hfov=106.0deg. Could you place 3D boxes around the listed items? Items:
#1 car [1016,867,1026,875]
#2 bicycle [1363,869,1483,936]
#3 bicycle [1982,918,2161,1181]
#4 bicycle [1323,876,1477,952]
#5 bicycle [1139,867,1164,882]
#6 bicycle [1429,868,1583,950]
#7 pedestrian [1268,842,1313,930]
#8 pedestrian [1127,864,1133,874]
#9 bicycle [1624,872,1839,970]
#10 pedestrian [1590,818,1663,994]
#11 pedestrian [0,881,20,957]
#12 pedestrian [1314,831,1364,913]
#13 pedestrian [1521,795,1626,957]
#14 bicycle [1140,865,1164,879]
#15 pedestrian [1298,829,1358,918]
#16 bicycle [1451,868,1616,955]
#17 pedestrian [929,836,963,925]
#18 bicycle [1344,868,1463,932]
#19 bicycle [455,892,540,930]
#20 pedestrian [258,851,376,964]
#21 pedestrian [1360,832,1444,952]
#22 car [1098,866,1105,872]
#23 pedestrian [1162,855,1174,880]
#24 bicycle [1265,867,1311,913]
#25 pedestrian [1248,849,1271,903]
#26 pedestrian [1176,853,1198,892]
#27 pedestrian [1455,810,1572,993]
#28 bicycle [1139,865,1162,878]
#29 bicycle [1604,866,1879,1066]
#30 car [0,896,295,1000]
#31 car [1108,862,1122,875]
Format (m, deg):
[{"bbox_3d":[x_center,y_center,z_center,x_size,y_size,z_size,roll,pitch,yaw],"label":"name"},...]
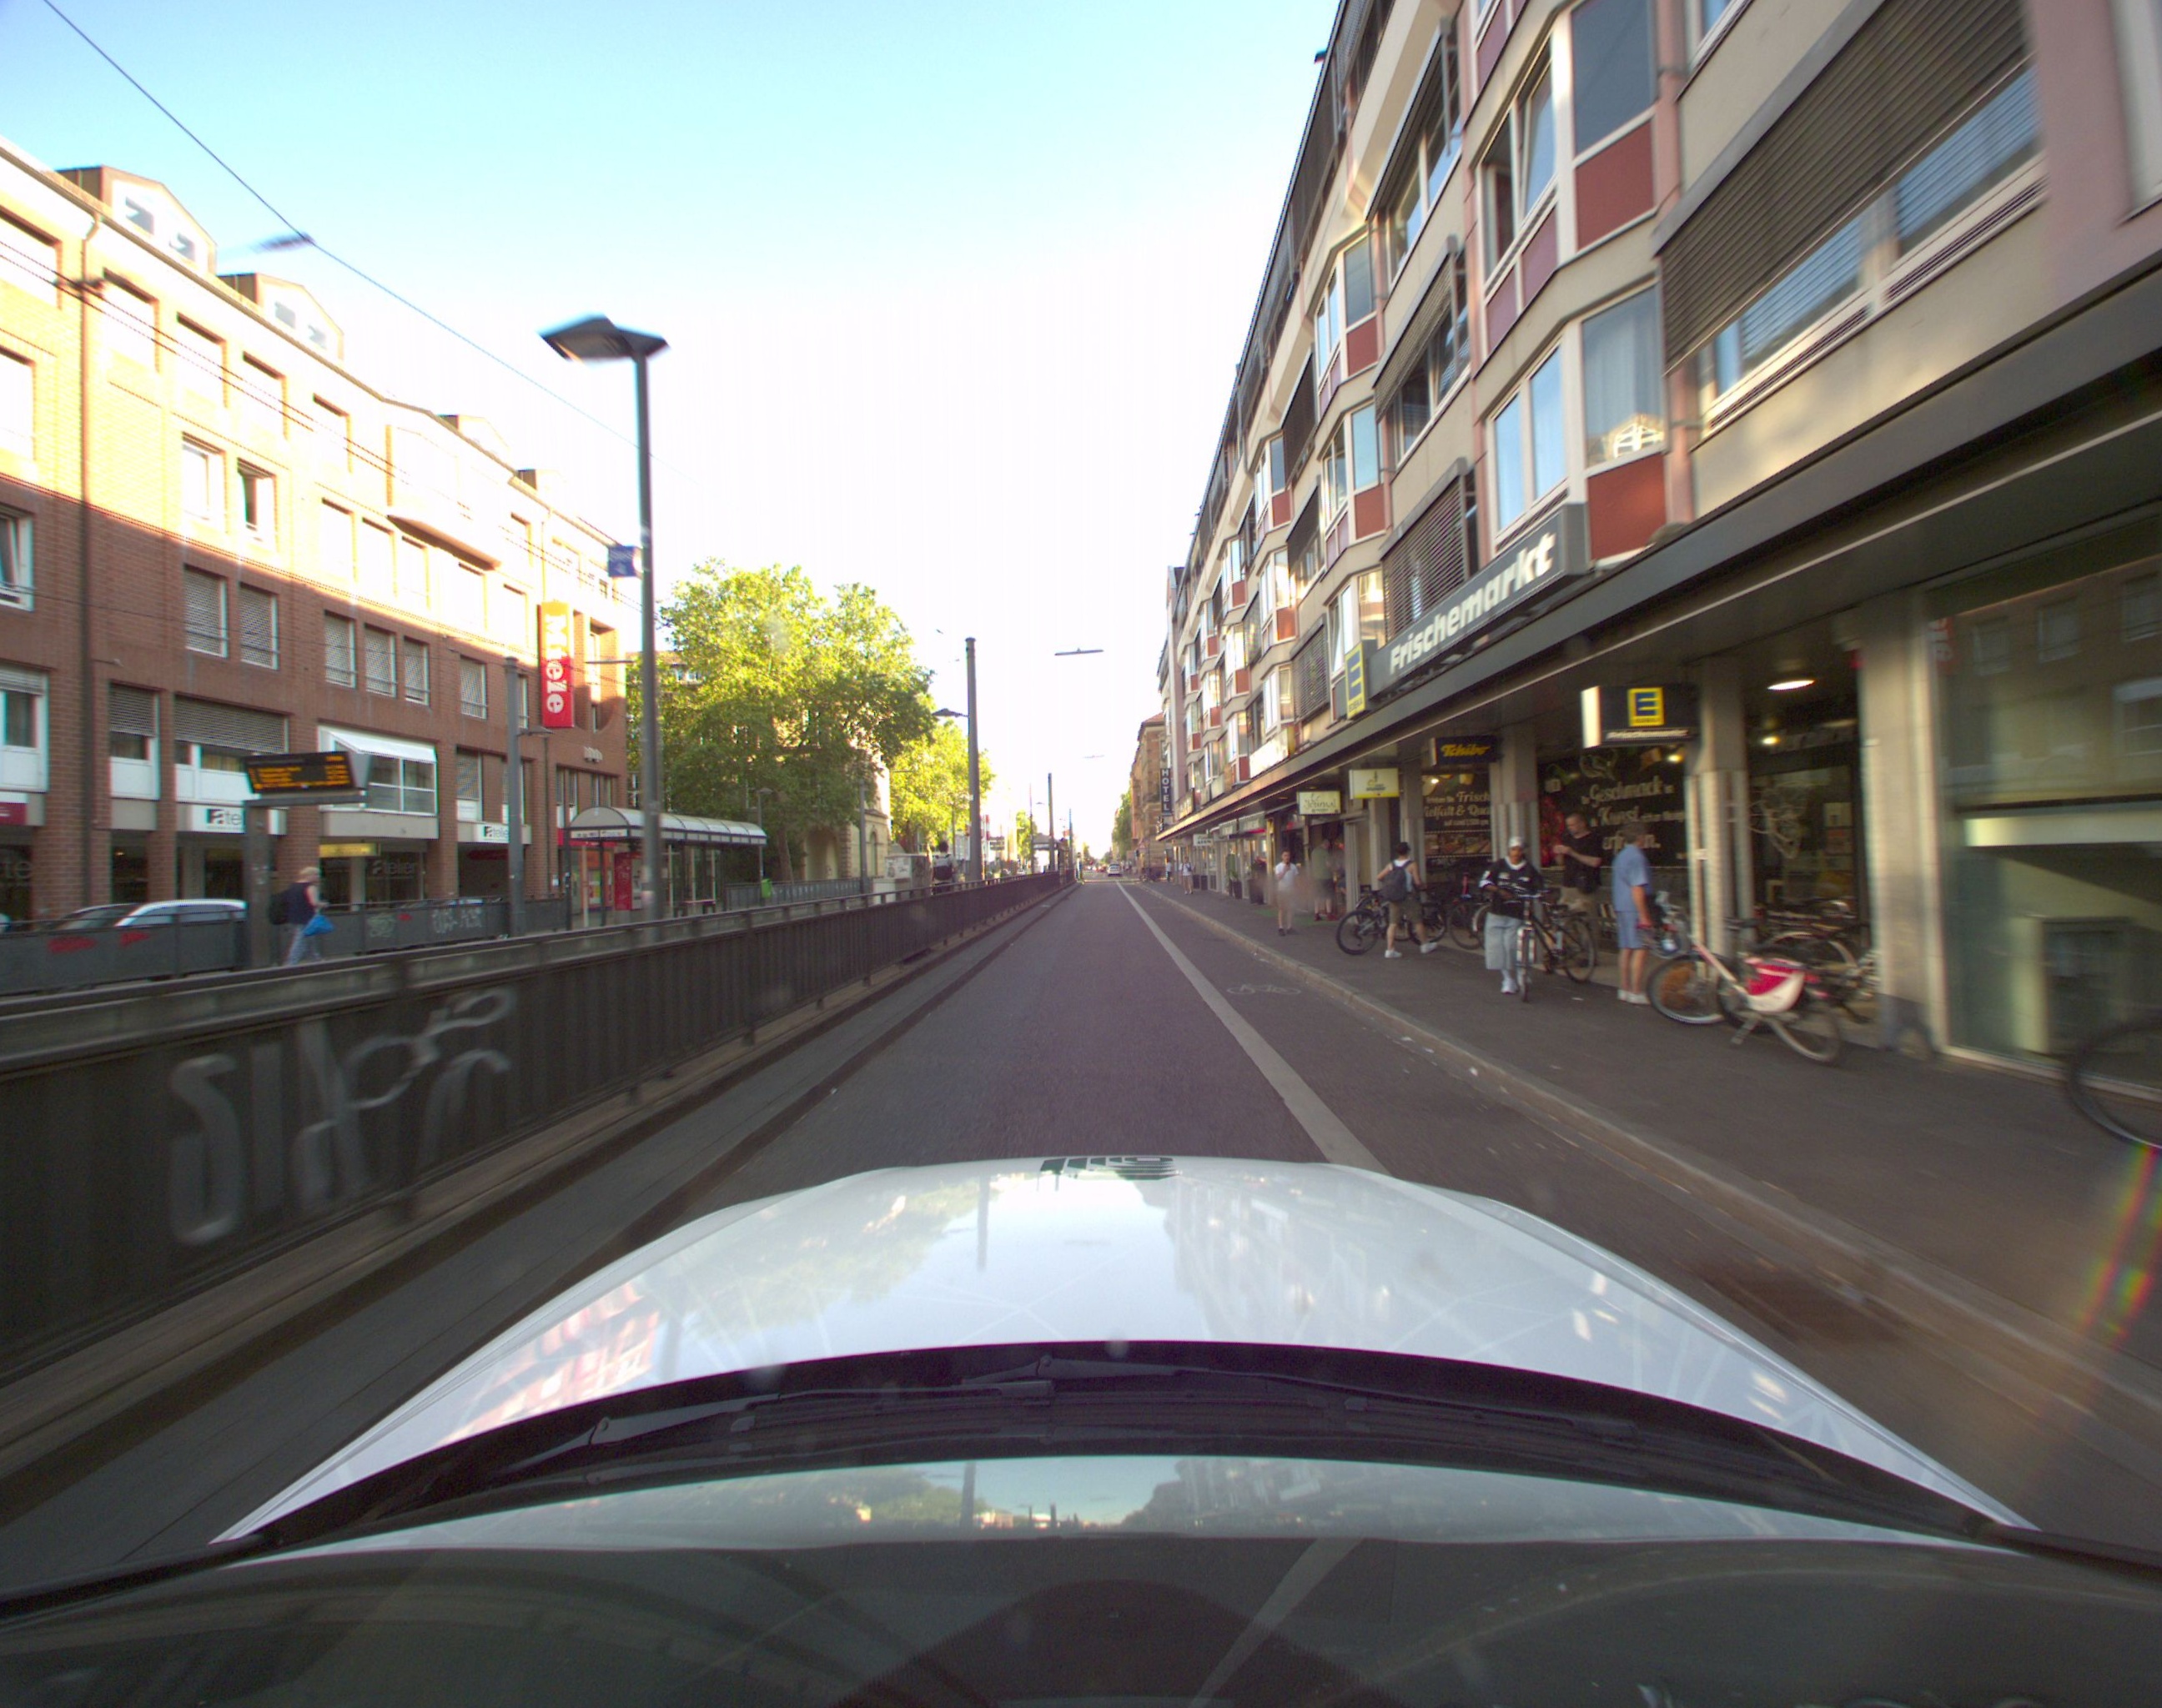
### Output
[{"bbox_3d":[-12.817,3.694,175.189,1.864,1.600,4.251,-1,-1,-1],"label":"car"},{"bbox_3d":[5.729,0.808,13.698,1.722,0.973,0.507,-5,-1,6],"label":"bicycle"},{"bbox_3d":[4.712,0.806,2.973,0.674,0.976,1.841,-6,-1,-2],"label":"bicycle"},{"bbox_3d":[4.802,0.898,12.336,2.013,0.973,0.659,-4,-1,3],"label":"bicycle"},{"bbox_3d":[5.821,1.692,67.245,1.965,1.105,0.614,-2,-1,-2],"label":"bicycle"},{"bbox_3d":[6.192,0.791,11.922,1.919,1.060,0.576,-3,-1,-2],"label":"bicycle"},{"bbox_3d":[4.132,0.620,16.137,0.630,1.673,0.771,-3,-2,1],"label":"pedestrian"},{"bbox_3d":[8.515,2.580,141.216,0.772,1.567,0.914,-5,-1,2],"label":"pedestrian"},{"bbox_3d":[7.221,0.729,9.080,1.919,0.938,0.576,-3,-1,-2],"label":"bicycle"},{"bbox_3d":[5.112,0.477,7.654,0.402,1.595,0.464,-6,-2,29],"label":"pedestrian"},{"bbox_3d":[-23.917,1.424,17.794,0.610,1.662,0.636,-1,-1,-4],"label":"pedestrian"},{"bbox_3d":[6.116,0.429,19.304,0.779,1.867,0.683,-3,-2,-19],"label":"pedestrian"},{"bbox_3d":[5.845,0.252,9.672,0.736,1.816,0.798,0,-1,-36],"label":"pedestrian"},{"bbox_3d":[5.817,1.478,66.592,1.908,1.047,0.680,-1,-1,-2],"label":"bicycle"},{"bbox_3d":[5.545,0.436,18.332,0.912,1.866,0.779,-6,-2,-2],"label":"pedestrian"},{"bbox_3d":[6.232,0.779,11.262,1.919,1.060,0.576,-3,-1,-2],"label":"bicycle"},{"bbox_3d":[-2.787,0.539,16.852,0.581,1.792,0.606,-1,-2,-1],"label":"pedestrian"},{"bbox_3d":[5.937,0.838,15.055,1.917,1.060,0.576,-3,-1,0],"label":"bicycle"},{"bbox_3d":[-21.018,2.031,29.365,2.594,1.282,0.842,1,-1,9],"label":"bicycle"},{"bbox_3d":[-11.826,0.812,12.643,0.908,1.662,0.967,-1,-1,0],"label":"pedestrian"},{"bbox_3d":[4.723,0.547,12.052,0.774,1.664,0.917,-3,-2,-1],"label":"pedestrian"},{"bbox_3d":[5.960,4.286,235.853,2.034,1.674,4.876,0,0,1],"label":"car"},{"bbox_3d":[6.666,1.008,62.290,0.809,1.884,0.777,2,-2,3],"label":"pedestrian"},{"bbox_3d":[5.303,0.897,20.990,0.655,1.067,1.794,-6,-1,1],"label":"bicycle"},{"bbox_3d":[5.730,0.702,26.164,0.540,1.673,0.467,-2,-2,-8],"label":"pedestrian"},{"bbox_3d":[4.924,0.851,38.021,0.795,1.722,1.062,-5,-2,3],"label":"pedestrian"},{"bbox_3d":[4.560,0.475,8.601,0.736,1.816,0.798,0,-1,-36],"label":"pedestrian"},{"bbox_3d":[5.826,1.459,67.980,1.829,1.054,0.717,-1,-1,-2],"label":"bicycle"},{"bbox_3d":[4.577,0.711,5.828,0.794,1.175,1.638,-5,-2,13],"label":"bicycle"},{"bbox_3d":[-17.675,1.641,15.106,1.902,1.594,4.292,-3,-3,2],"label":"car"},{"bbox_3d":[4.896,2.131,117.141,1.959,1.772,4.878,0,-1,2],"label":"car"}]
